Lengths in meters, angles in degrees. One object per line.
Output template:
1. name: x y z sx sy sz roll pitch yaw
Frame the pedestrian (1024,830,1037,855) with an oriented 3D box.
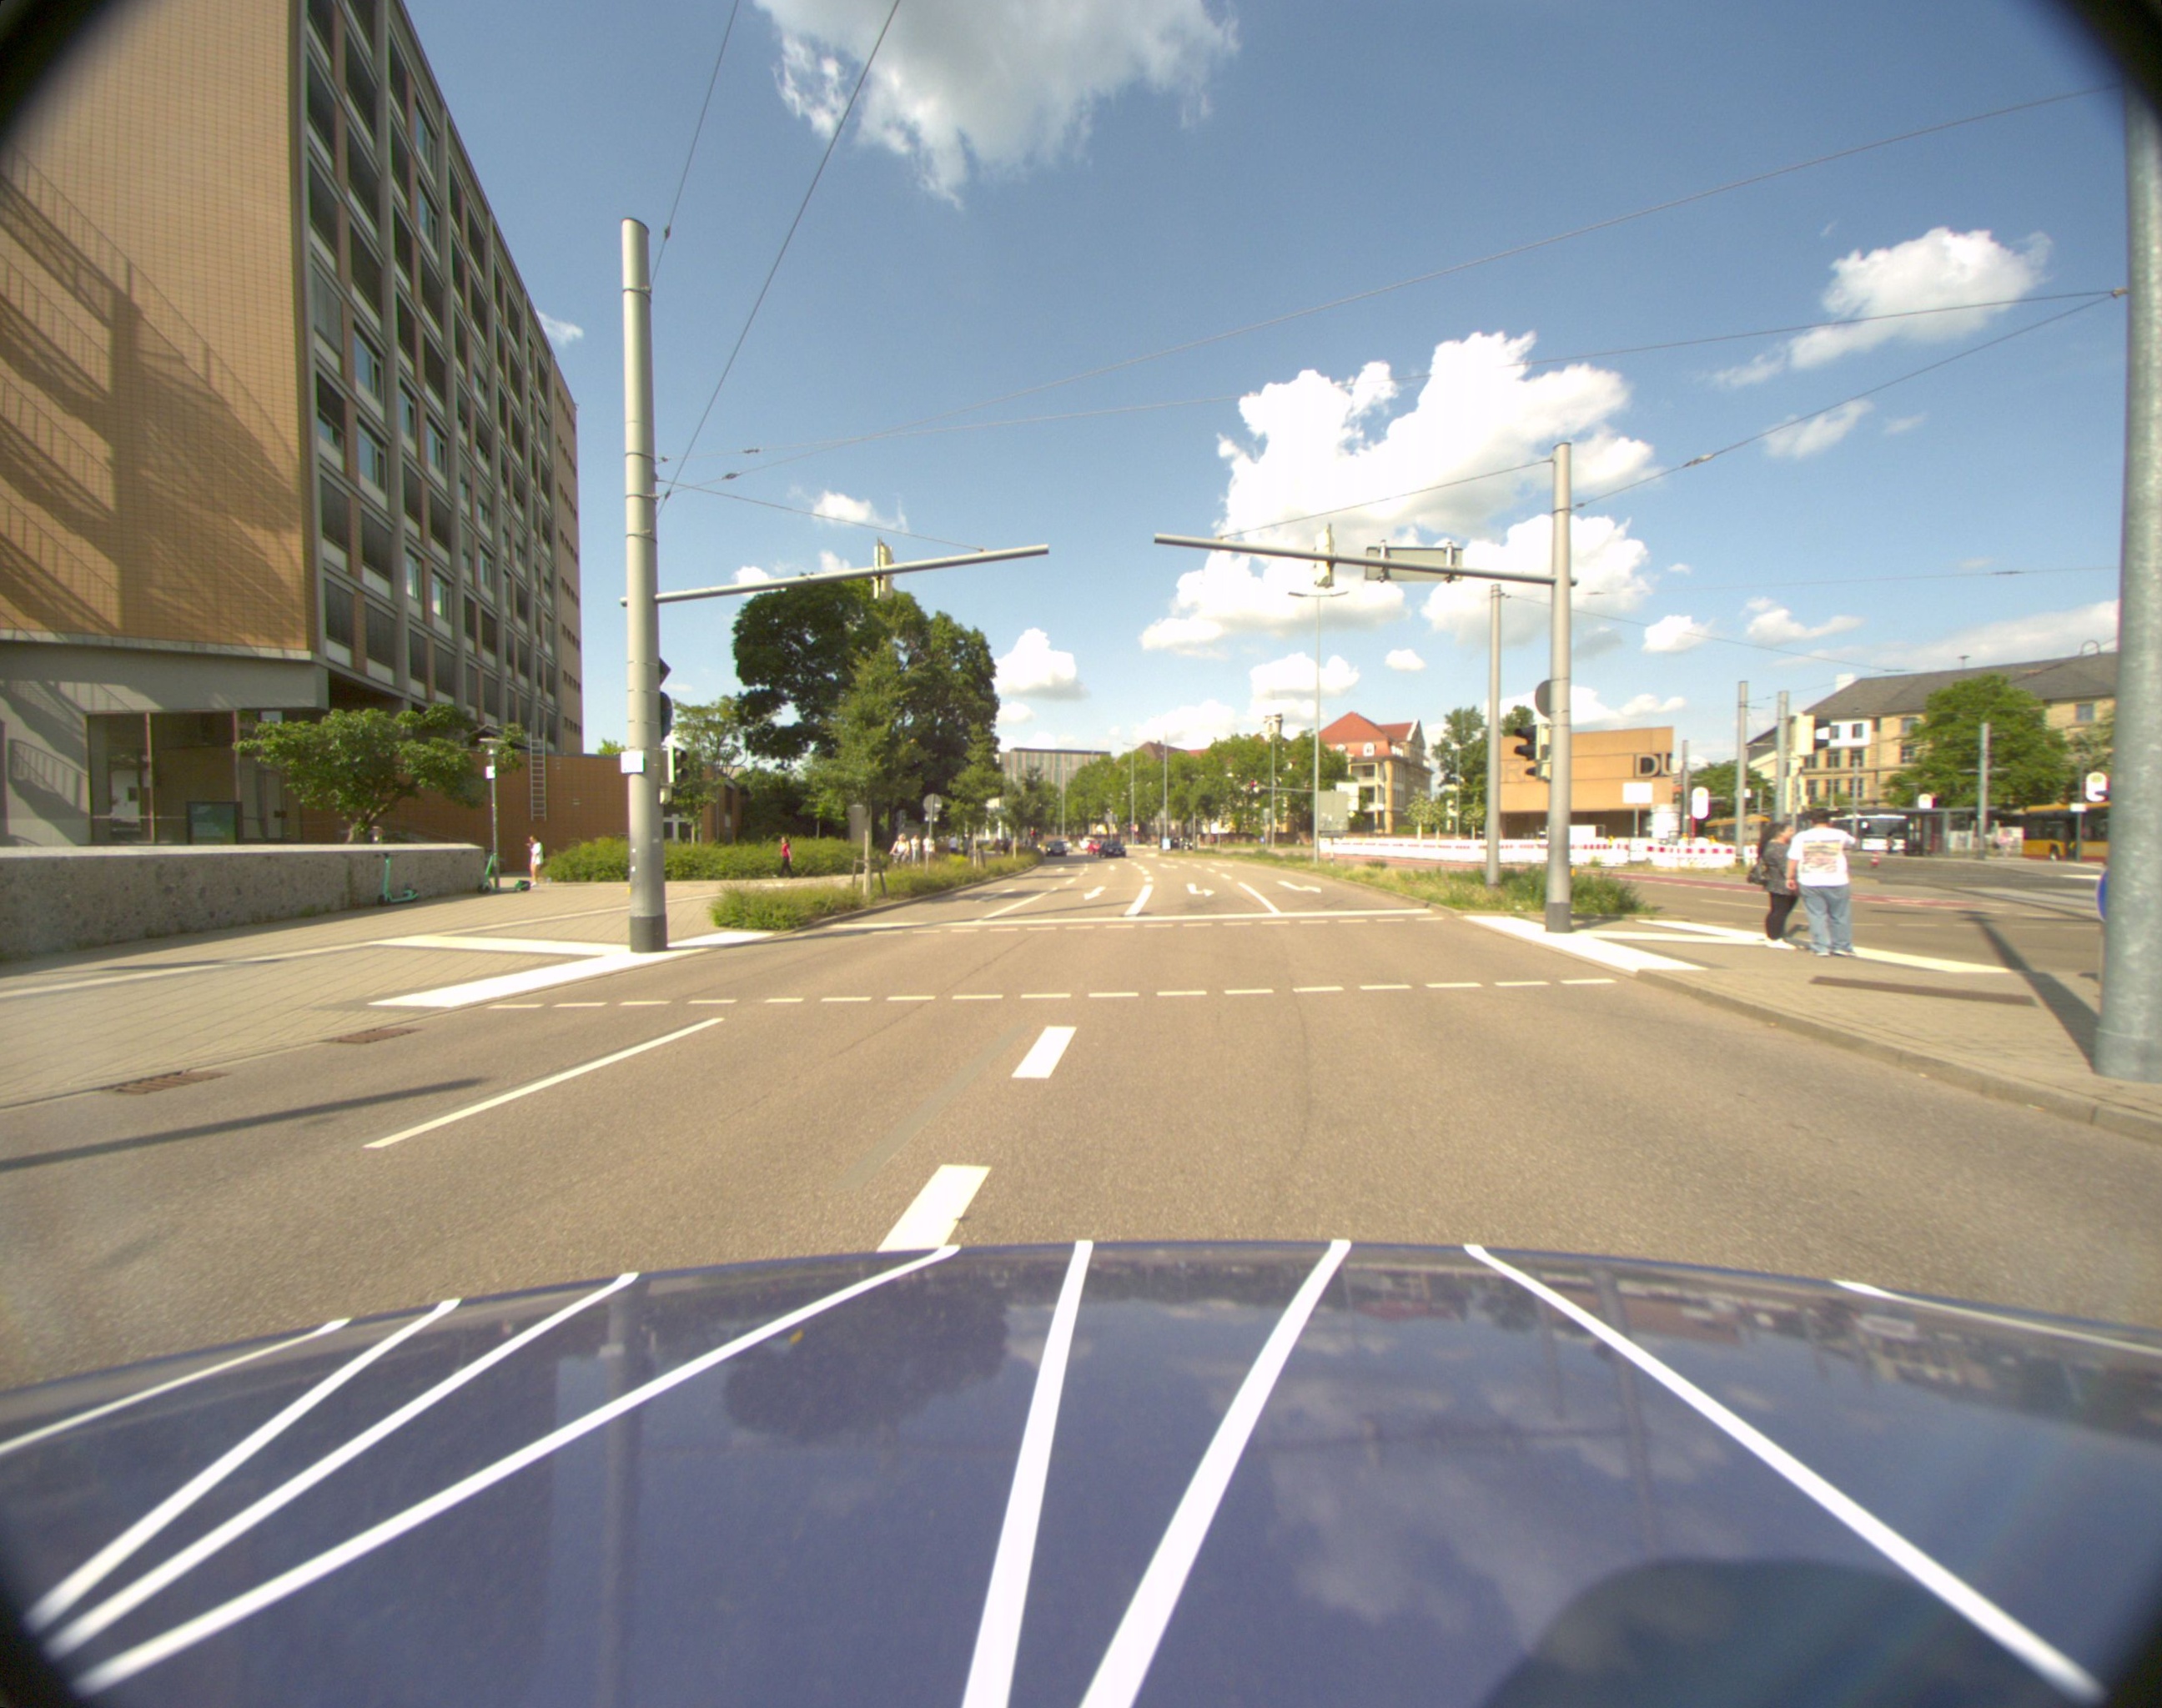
1. pedestrian: -4.139 -0.929 62.378 0.964 2.003 0.768 -2 3 0

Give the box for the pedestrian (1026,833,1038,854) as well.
1. pedestrian: -4.205 -0.893 64.969 0.927 1.725 0.768 -2 3 0

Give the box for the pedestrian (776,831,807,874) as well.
1. pedestrian: -10.960 -0.065 28.792 0.614 1.613 0.891 5 4 41

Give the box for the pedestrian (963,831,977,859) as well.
1. pedestrian: -6.937 -0.569 47.502 0.744 1.744 0.889 2 3 -3

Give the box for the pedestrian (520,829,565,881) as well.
1. pedestrian: -17.165 0.040 24.221 1.098 1.613 0.614 1 3 -28

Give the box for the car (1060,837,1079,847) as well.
1. car: -1.365 -1.407 89.226 1.909 1.127 4.099 -1 2 -5

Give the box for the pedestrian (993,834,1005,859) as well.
1. pedestrian: -5.896 -0.533 54.645 0.768 1.725 0.718 -2 3 -6

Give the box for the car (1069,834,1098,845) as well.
1. car: 0.324 -1.780 94.245 1.782 1.347 3.990 -3 2 -30

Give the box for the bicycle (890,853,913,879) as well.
1. bicycle: -6.751 0.438 28.581 0.649 0.876 1.820 0 2 -7

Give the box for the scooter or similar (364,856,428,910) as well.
1. scooter or similar: -15.200 0.613 16.891 0.466 1.111 1.444 0 1 -17

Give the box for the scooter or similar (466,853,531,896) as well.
1. scooter or similar: -15.436 0.519 20.153 1.321 1.098 0.464 0 2 -43

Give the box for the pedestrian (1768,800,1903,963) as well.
1. pedestrian: 9.161 0.314 9.260 0.849 1.906 0.692 0 3 3

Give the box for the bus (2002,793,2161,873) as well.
1. bus: 46.855 -0.954 34.445 2.826 3.118 12.865 1 2 34

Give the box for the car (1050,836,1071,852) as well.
1. car: -1.846 -0.929 69.742 1.826 1.455 3.998 -1 2 -1

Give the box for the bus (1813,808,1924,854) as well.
1. bus: 70.626 -2.018 68.781 3.598 3.611 18.909 1 2 36

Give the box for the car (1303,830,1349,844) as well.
1. car: 26.436 -1.856 82.060 4.270 1.368 1.997 -2 2 -12

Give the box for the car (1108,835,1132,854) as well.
1. car: 3.157 -0.835 62.128 1.825 1.455 3.999 -1 2 2

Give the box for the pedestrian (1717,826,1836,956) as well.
1. pedestrian: 9.113 0.458 9.991 0.849 1.639 0.692 0 3 3

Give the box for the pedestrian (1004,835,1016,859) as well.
1. pedestrian: -5.169 -0.521 55.419 0.768 1.725 0.718 -2 3 -6

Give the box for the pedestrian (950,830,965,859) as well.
1. pedestrian: -7.725 -0.600 47.534 0.744 1.737 0.889 2 3 -3

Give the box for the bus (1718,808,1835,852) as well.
1. bus: 58.408 -2.001 64.741 3.466 3.166 23.822 1 2 33

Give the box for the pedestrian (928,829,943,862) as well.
1. pedestrian: -7.733 -0.457 40.518 0.615 1.691 0.889 2 3 -3

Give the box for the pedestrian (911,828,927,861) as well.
1. pedestrian: -8.617 -0.502 40.401 0.615 1.691 0.889 2 3 -3

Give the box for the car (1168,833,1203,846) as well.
1. car: 11.221 -1.573 81.753 1.736 1.327 3.779 -3 3 -32

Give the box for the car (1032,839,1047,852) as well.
1. car: -4.999 -1.082 92.112 1.826 1.455 3.998 -1 2 -2

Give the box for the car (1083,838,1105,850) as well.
1. car: 1.255 -0.997 73.872 1.598 1.127 3.625 0 1 -8

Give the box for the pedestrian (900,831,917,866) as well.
1. pedestrian: -8.394 -0.273 36.916 0.615 1.613 0.889 2 3 -3
